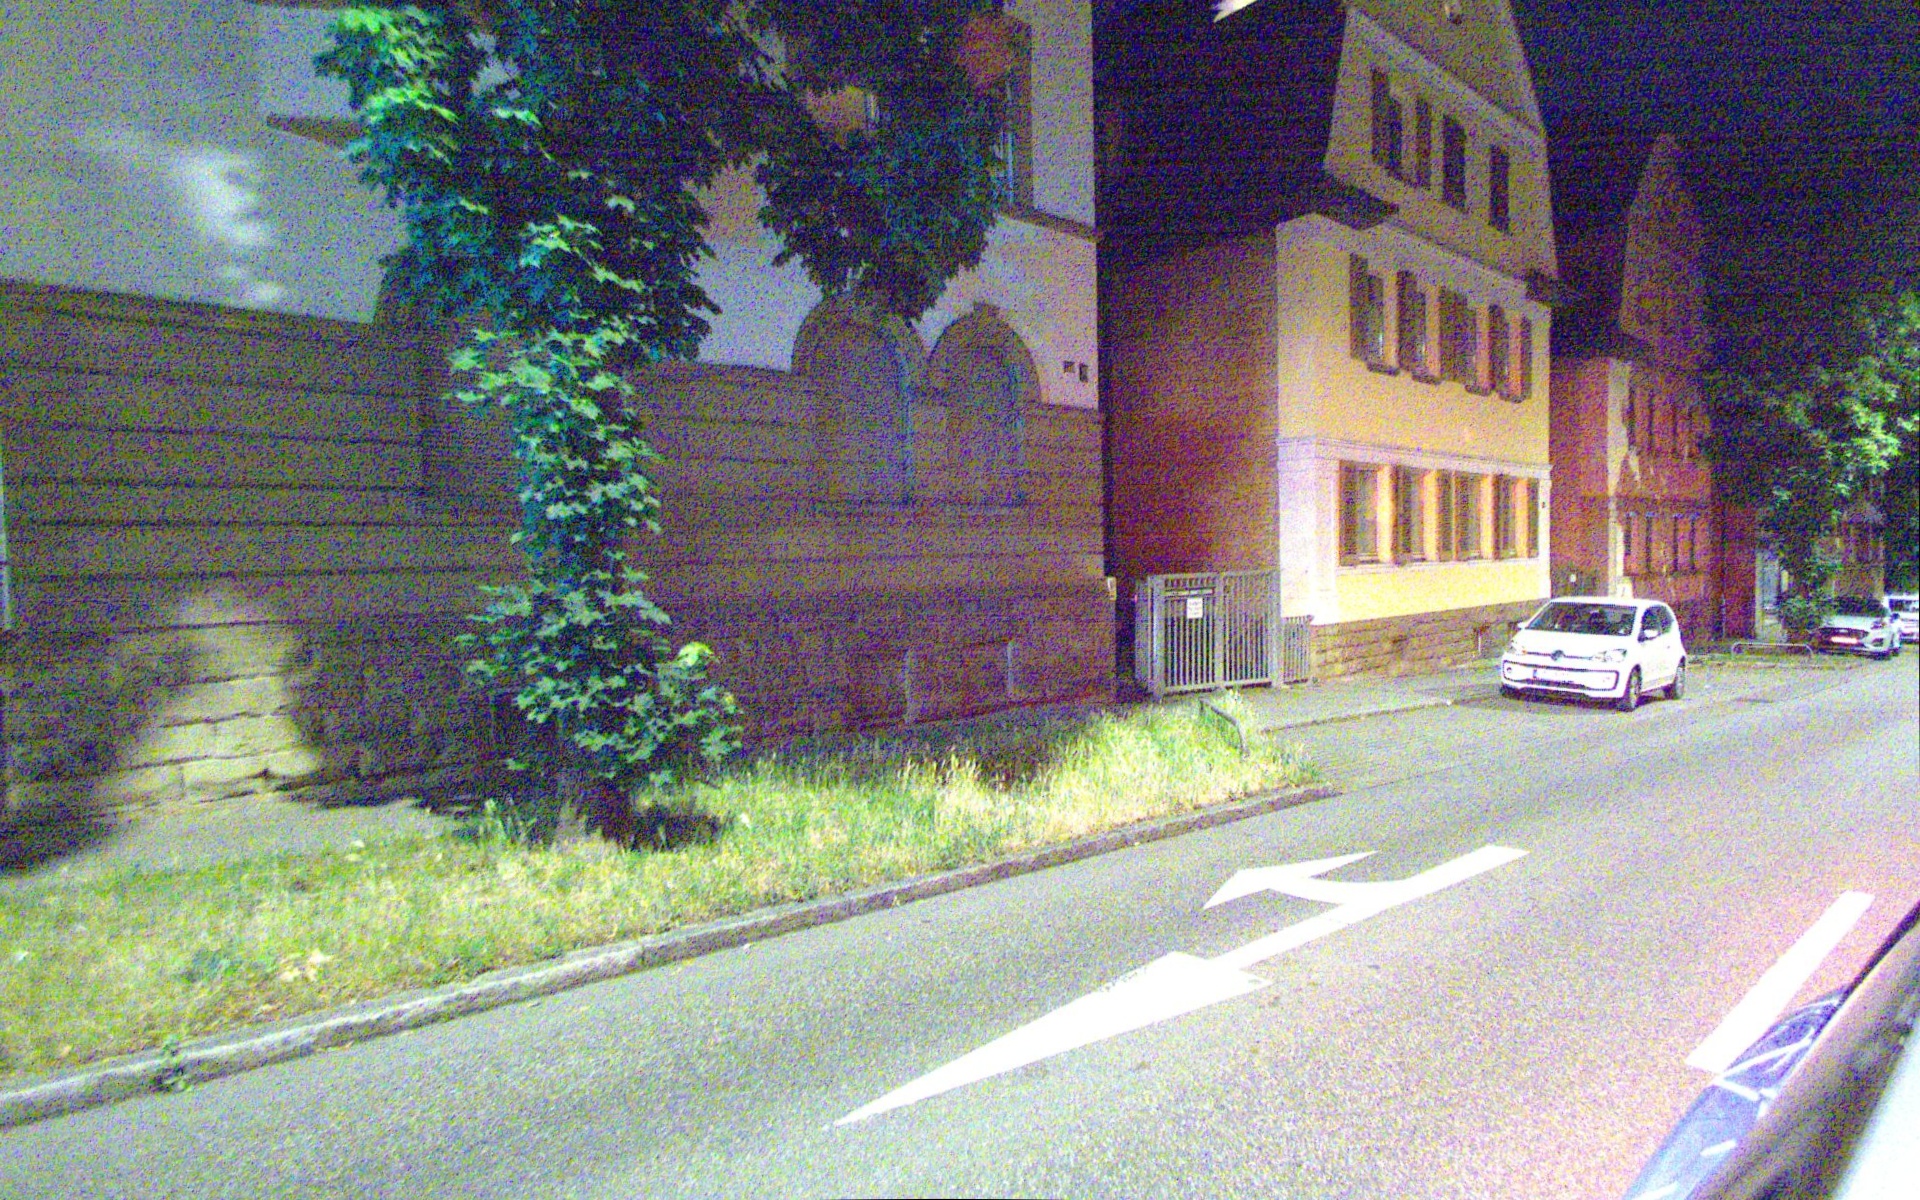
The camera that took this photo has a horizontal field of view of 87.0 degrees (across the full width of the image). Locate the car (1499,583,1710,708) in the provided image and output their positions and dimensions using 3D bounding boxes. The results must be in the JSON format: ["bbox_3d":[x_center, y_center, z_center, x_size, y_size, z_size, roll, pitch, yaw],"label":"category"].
[{"bbox_3d":[9.284,0.562,14.493,3.425,1.527,1.610,0,2,-41],"label":"car"}]

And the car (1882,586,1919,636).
[{"bbox_3d":[33.540,0.365,35.137,4.107,1.673,1.850,0,0,-42],"label":"car"}]

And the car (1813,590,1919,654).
[{"bbox_3d":[23.616,0.508,26.280,3.824,1.516,1.740,0,2,-43],"label":"car"}]
